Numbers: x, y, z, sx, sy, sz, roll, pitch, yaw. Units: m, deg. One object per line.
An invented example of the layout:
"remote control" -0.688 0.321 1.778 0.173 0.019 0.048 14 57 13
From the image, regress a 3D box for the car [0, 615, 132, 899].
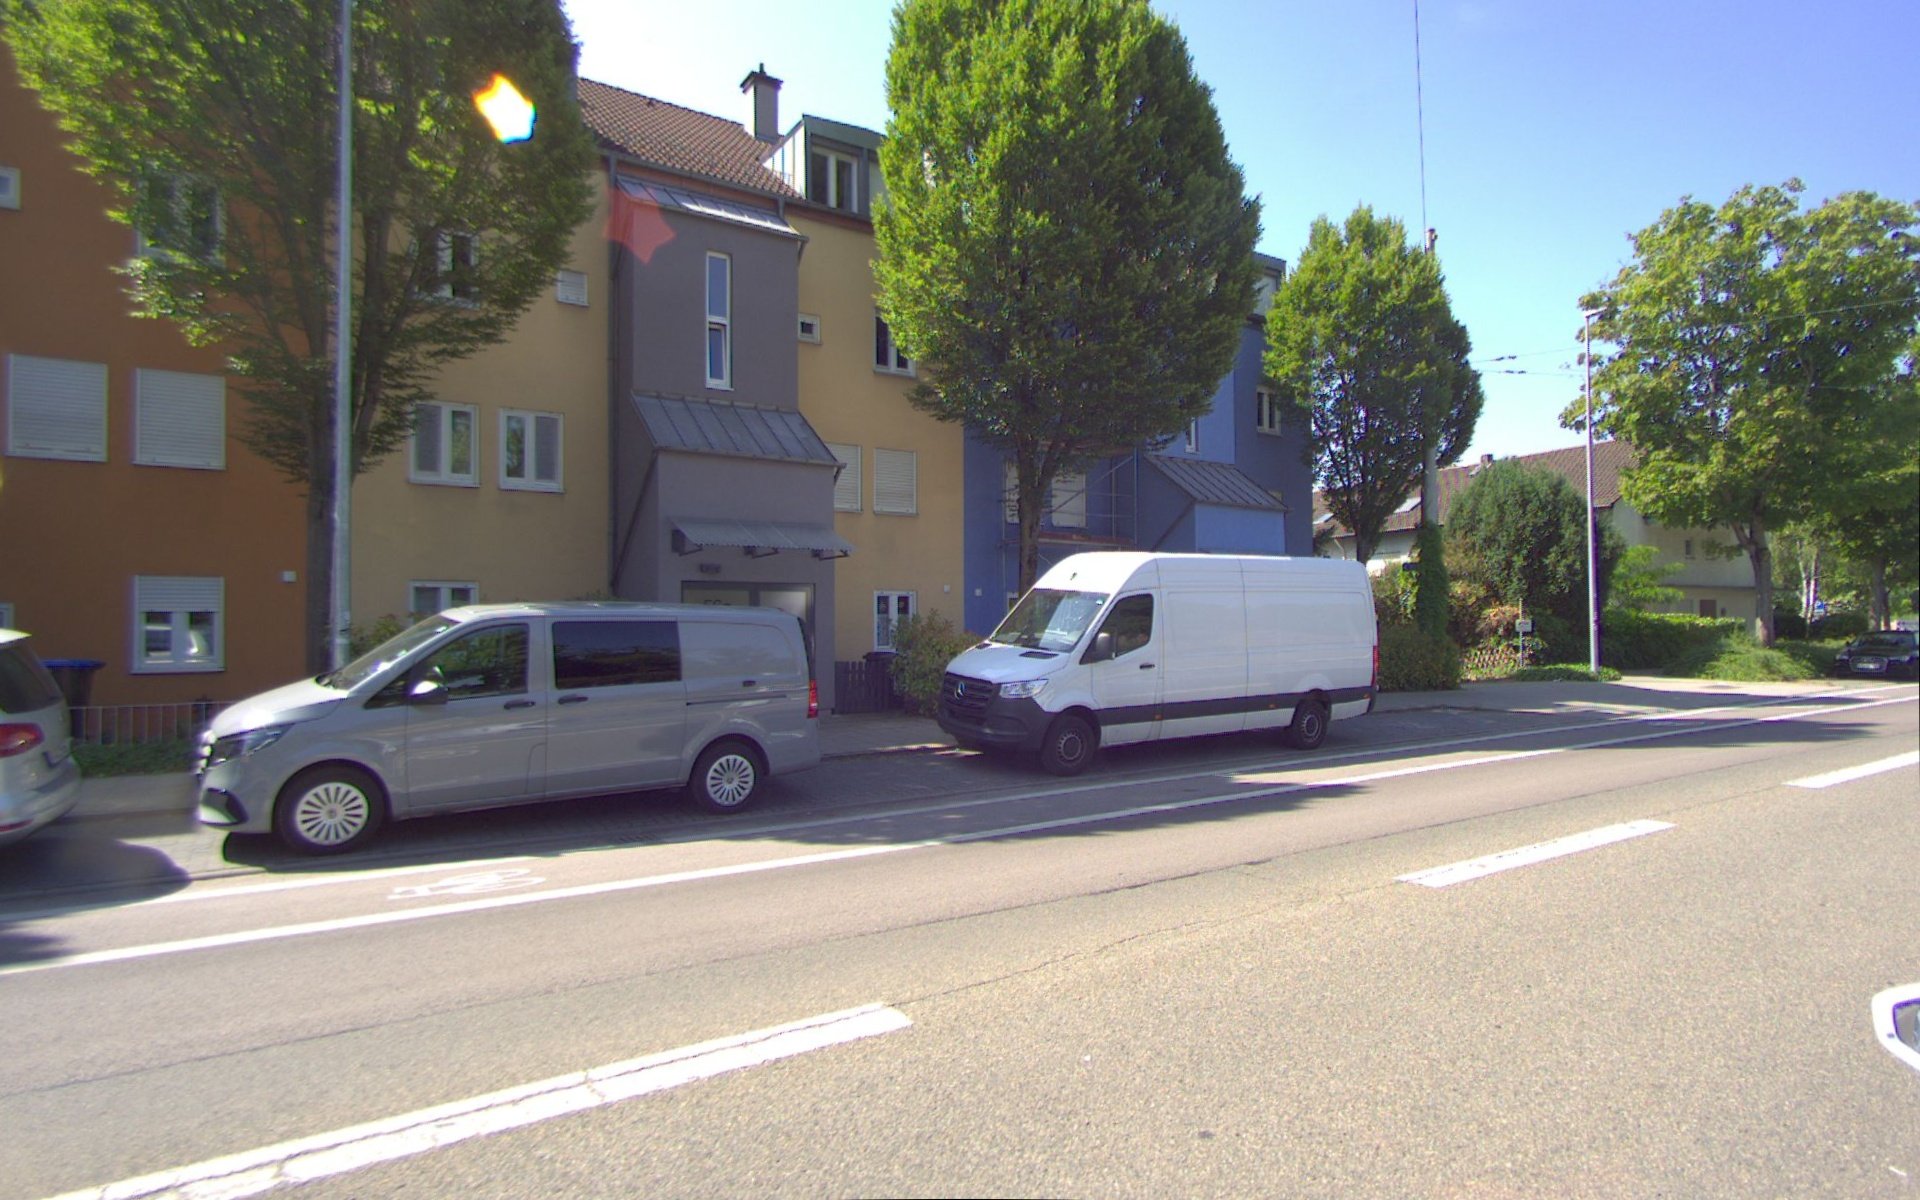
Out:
"car" -8.262 0.986 6.038 4.856 1.748 1.790 1 1 -33

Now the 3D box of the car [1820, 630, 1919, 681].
"car" 28.071 1.650 30.573 3.953 1.435 1.692 1 -2 -30

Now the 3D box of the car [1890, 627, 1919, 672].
"car" 34.137 1.702 34.838 3.953 1.501 1.692 1 -2 -30

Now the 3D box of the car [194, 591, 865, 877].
"car" -3.670 0.967 9.305 5.298 1.974 1.907 1 1 -34

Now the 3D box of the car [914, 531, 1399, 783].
"car" 2.943 0.657 13.728 7.079 2.750 1.983 1 1 -33
